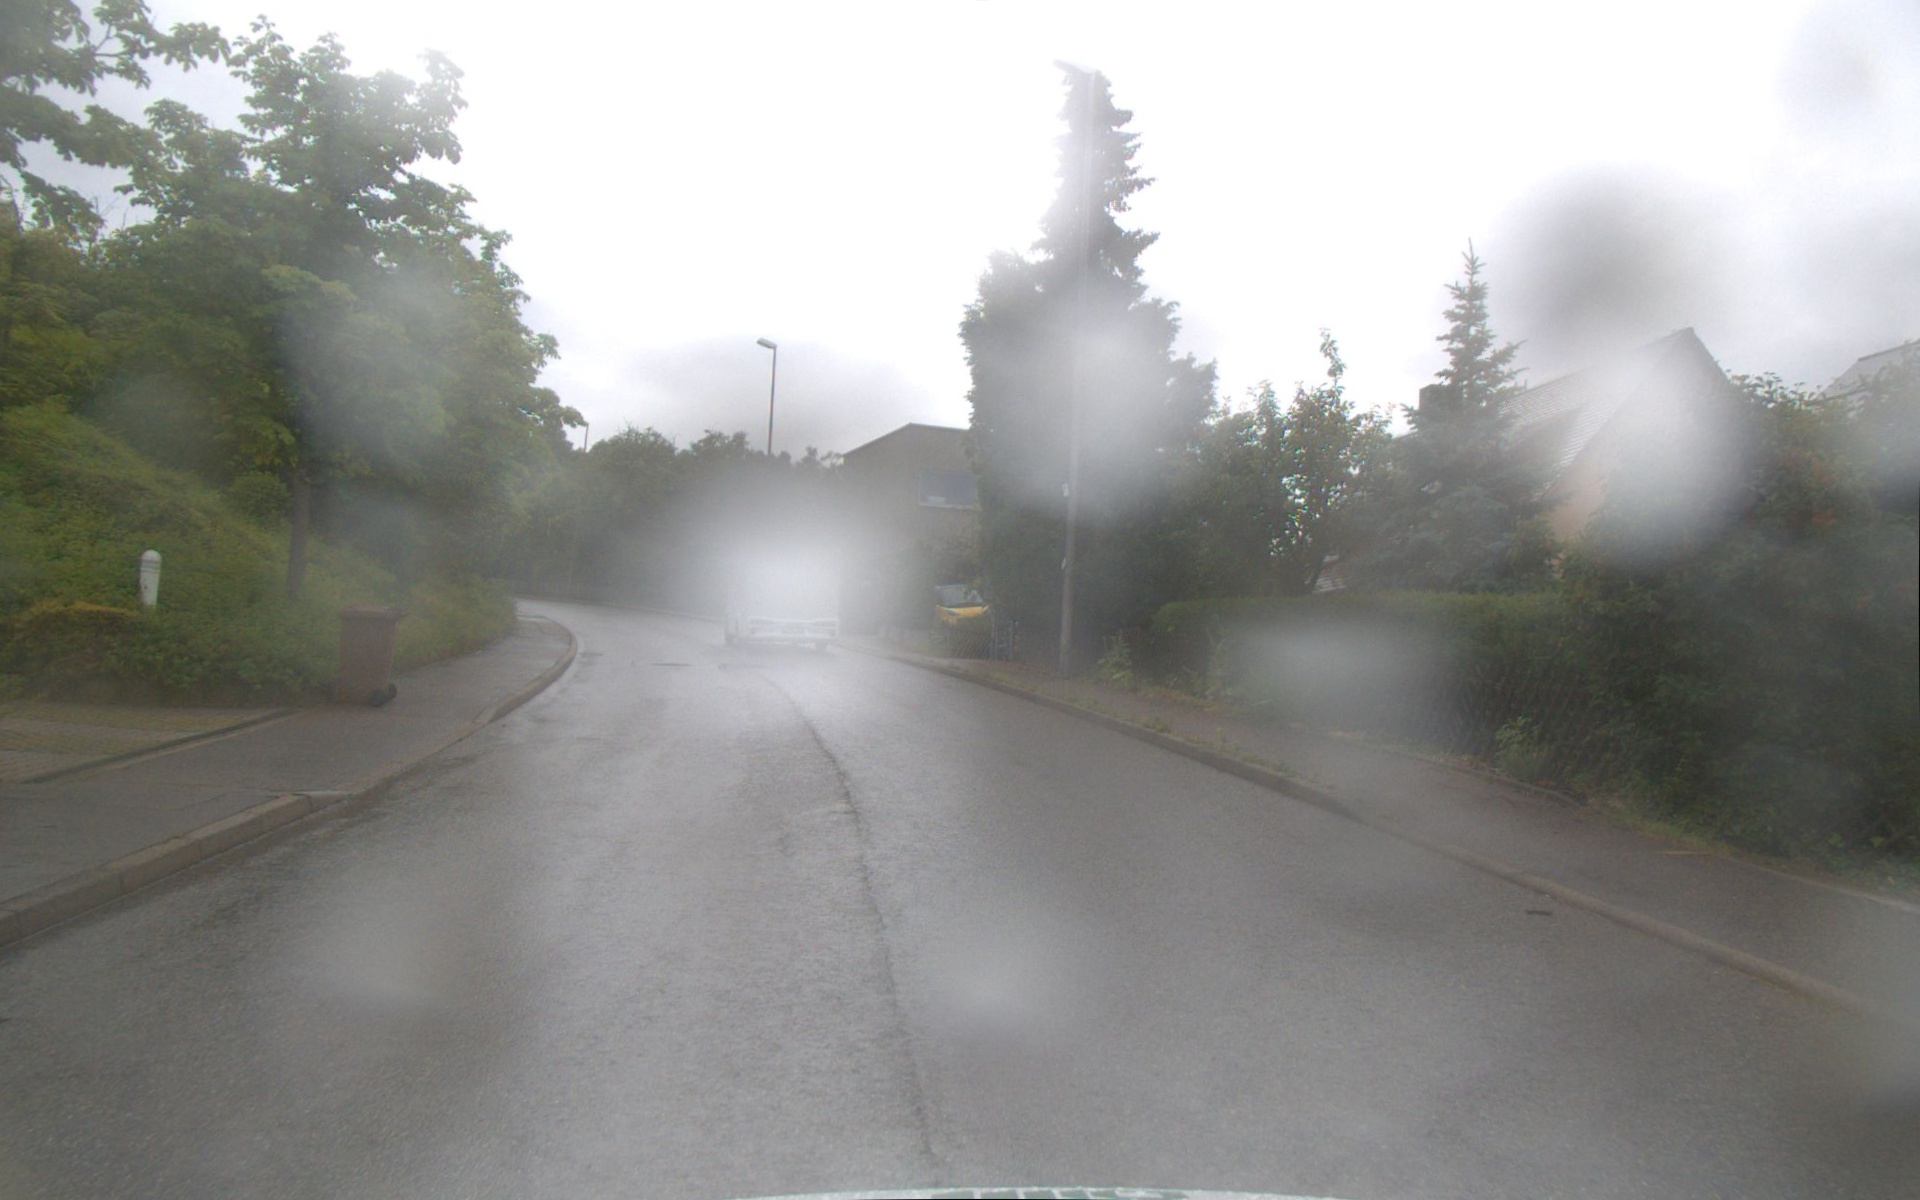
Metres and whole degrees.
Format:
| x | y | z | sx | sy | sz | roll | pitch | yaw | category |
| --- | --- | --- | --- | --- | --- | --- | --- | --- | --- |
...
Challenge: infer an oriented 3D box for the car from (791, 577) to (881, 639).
| x | y | z | sx | sy | sz | roll | pitch | yaw | category |
| --- | --- | --- | --- | --- | --- | --- | --- | --- | --- |
| -4.407 | 0.339 | 58.118 | 1.964 | 1.975 | 4.745 | 2 | -3 | -19 | car |

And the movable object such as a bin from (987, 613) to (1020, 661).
| x | y | z | sx | sy | sz | roll | pitch | yaw | category |
| --- | --- | --- | --- | --- | --- | --- | --- | --- | --- |
| 0.957 | 0.805 | 36.200 | 0.496 | 0.986 | 0.592 | 5 | -1 | -15 | movable object such as a bin |

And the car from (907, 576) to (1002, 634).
| x | y | z | sx | sy | sz | roll | pitch | yaw | category |
| --- | --- | --- | --- | --- | --- | --- | --- | --- | --- |
| -0.189 | 0.140 | 47.736 | 1.605 | 1.519 | 3.405 | -4 | 1 | -21 | car |

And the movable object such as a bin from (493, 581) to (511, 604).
| x | y | z | sx | sy | sz | roll | pitch | yaw | category |
| --- | --- | --- | --- | --- | --- | --- | --- | --- | --- |
| -19.079 | -0.332 | 68.921 | 0.639 | 0.927 | 0.669 | 3 | 0 | -21 | movable object such as a bin |

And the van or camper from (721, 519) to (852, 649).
| x | y | z | sx | sy | sz | roll | pitch | yaw | category |
| --- | --- | --- | --- | --- | --- | --- | --- | --- | --- |
| -4.430 | -0.353 | 41.266 | 2.497 | 2.976 | 5.927 | 1 | 0 | -13 | van or camper |

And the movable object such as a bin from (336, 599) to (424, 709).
| x | y | z | sx | sy | sz | roll | pitch | yaw | category |
| --- | --- | --- | --- | --- | --- | --- | --- | --- | --- |
| -6.470 | 0.595 | 18.483 | 0.681 | 1.109 | 0.803 | 4 | 3 | -4 | movable object such as a bin |
